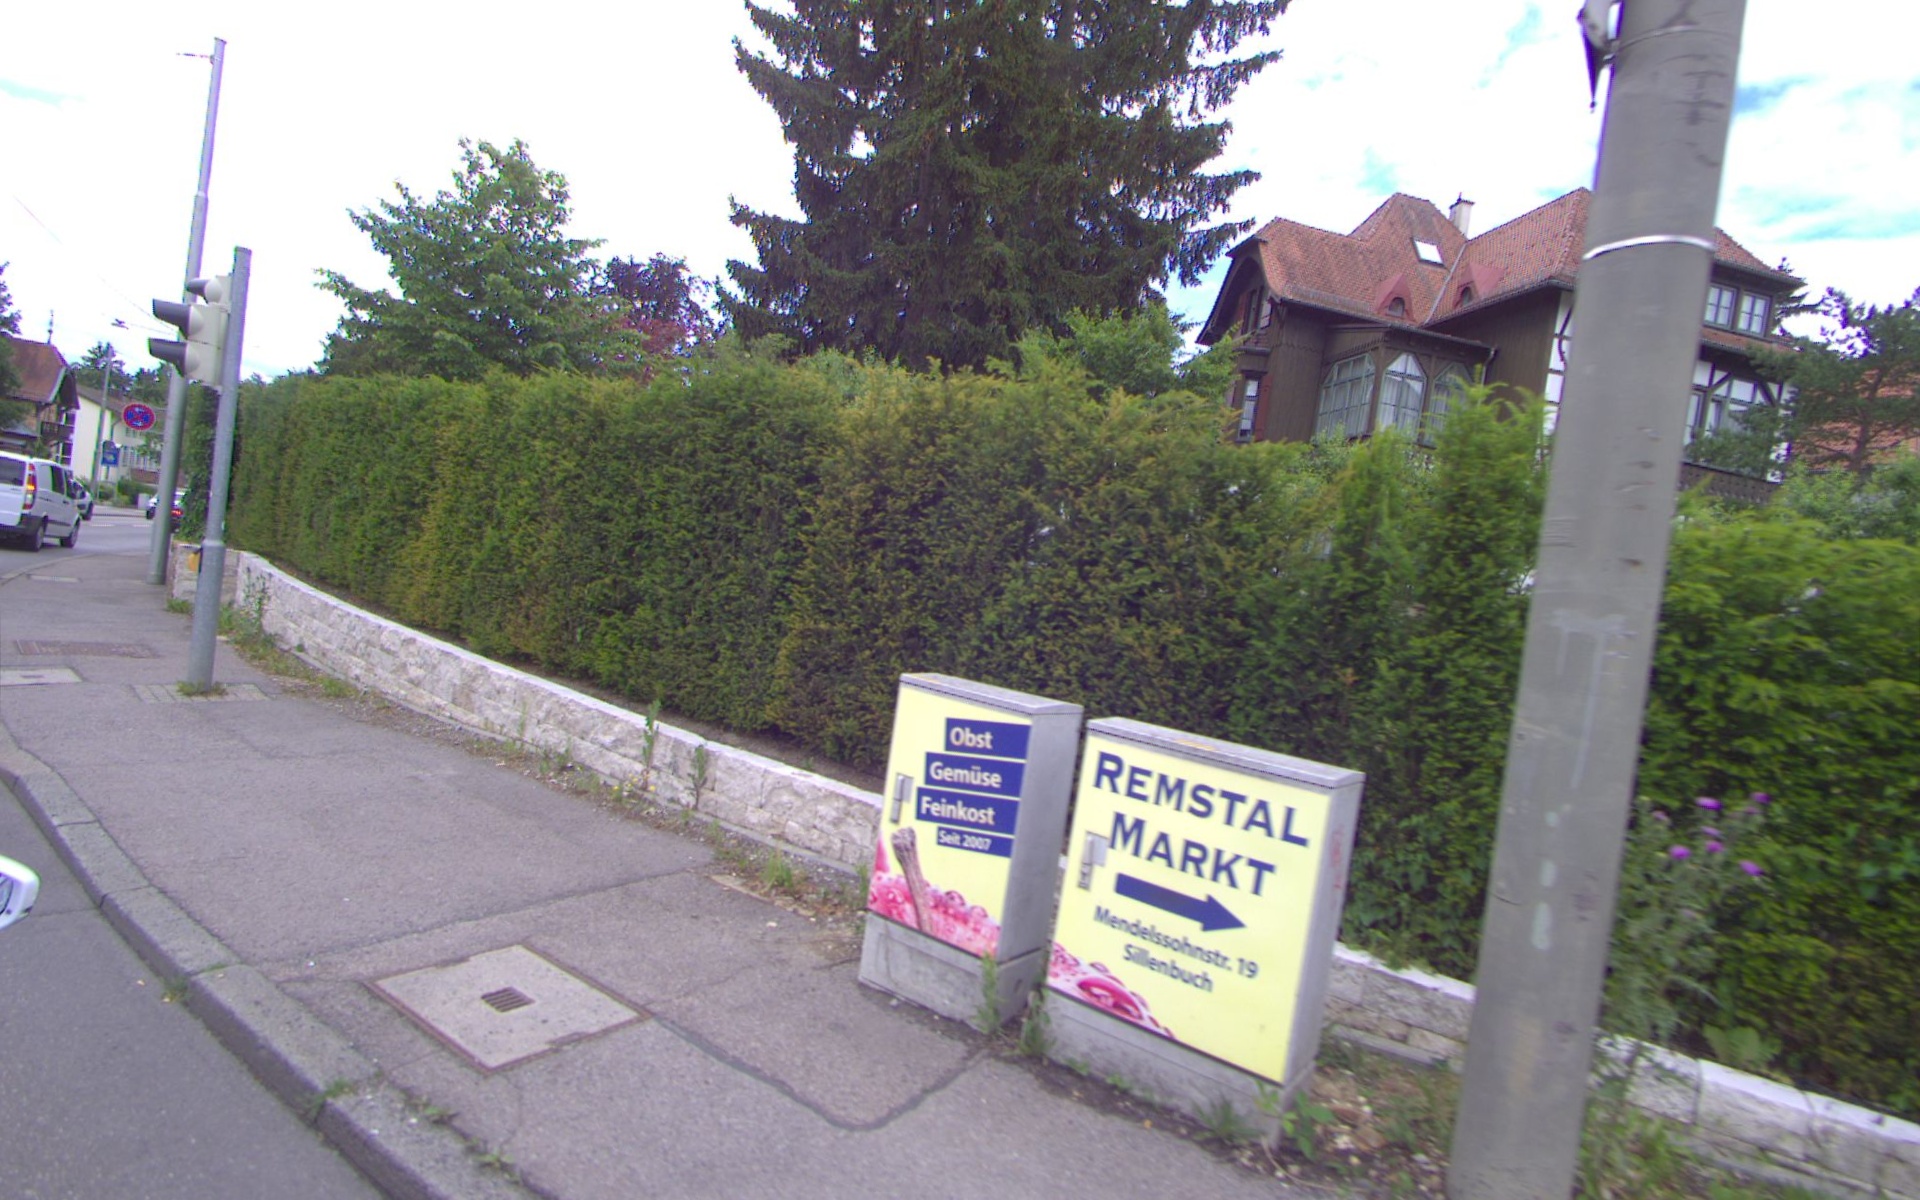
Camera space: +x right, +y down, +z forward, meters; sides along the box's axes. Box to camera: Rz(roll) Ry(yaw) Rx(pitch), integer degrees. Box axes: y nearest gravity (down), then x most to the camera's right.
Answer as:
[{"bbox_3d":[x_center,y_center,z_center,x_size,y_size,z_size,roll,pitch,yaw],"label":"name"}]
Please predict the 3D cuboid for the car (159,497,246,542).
[{"bbox_3d":[-30.649,-3.230,40.844,1.976,1.421,3.974,8,0,-26],"label":"car"}]

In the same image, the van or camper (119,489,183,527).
[{"bbox_3d":[-42.730,-4.843,53.220,1.979,1.627,3.966,6,1,-31],"label":"van or camper"}]

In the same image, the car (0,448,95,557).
[{"bbox_3d":[-19.991,-2.114,21.031,1.948,1.975,4.188,13,-4,-32],"label":"car"}]

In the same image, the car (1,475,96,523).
[{"bbox_3d":[-33.079,-3.632,36.624,1.681,1.458,3.728,5,1,-29],"label":"car"}]
